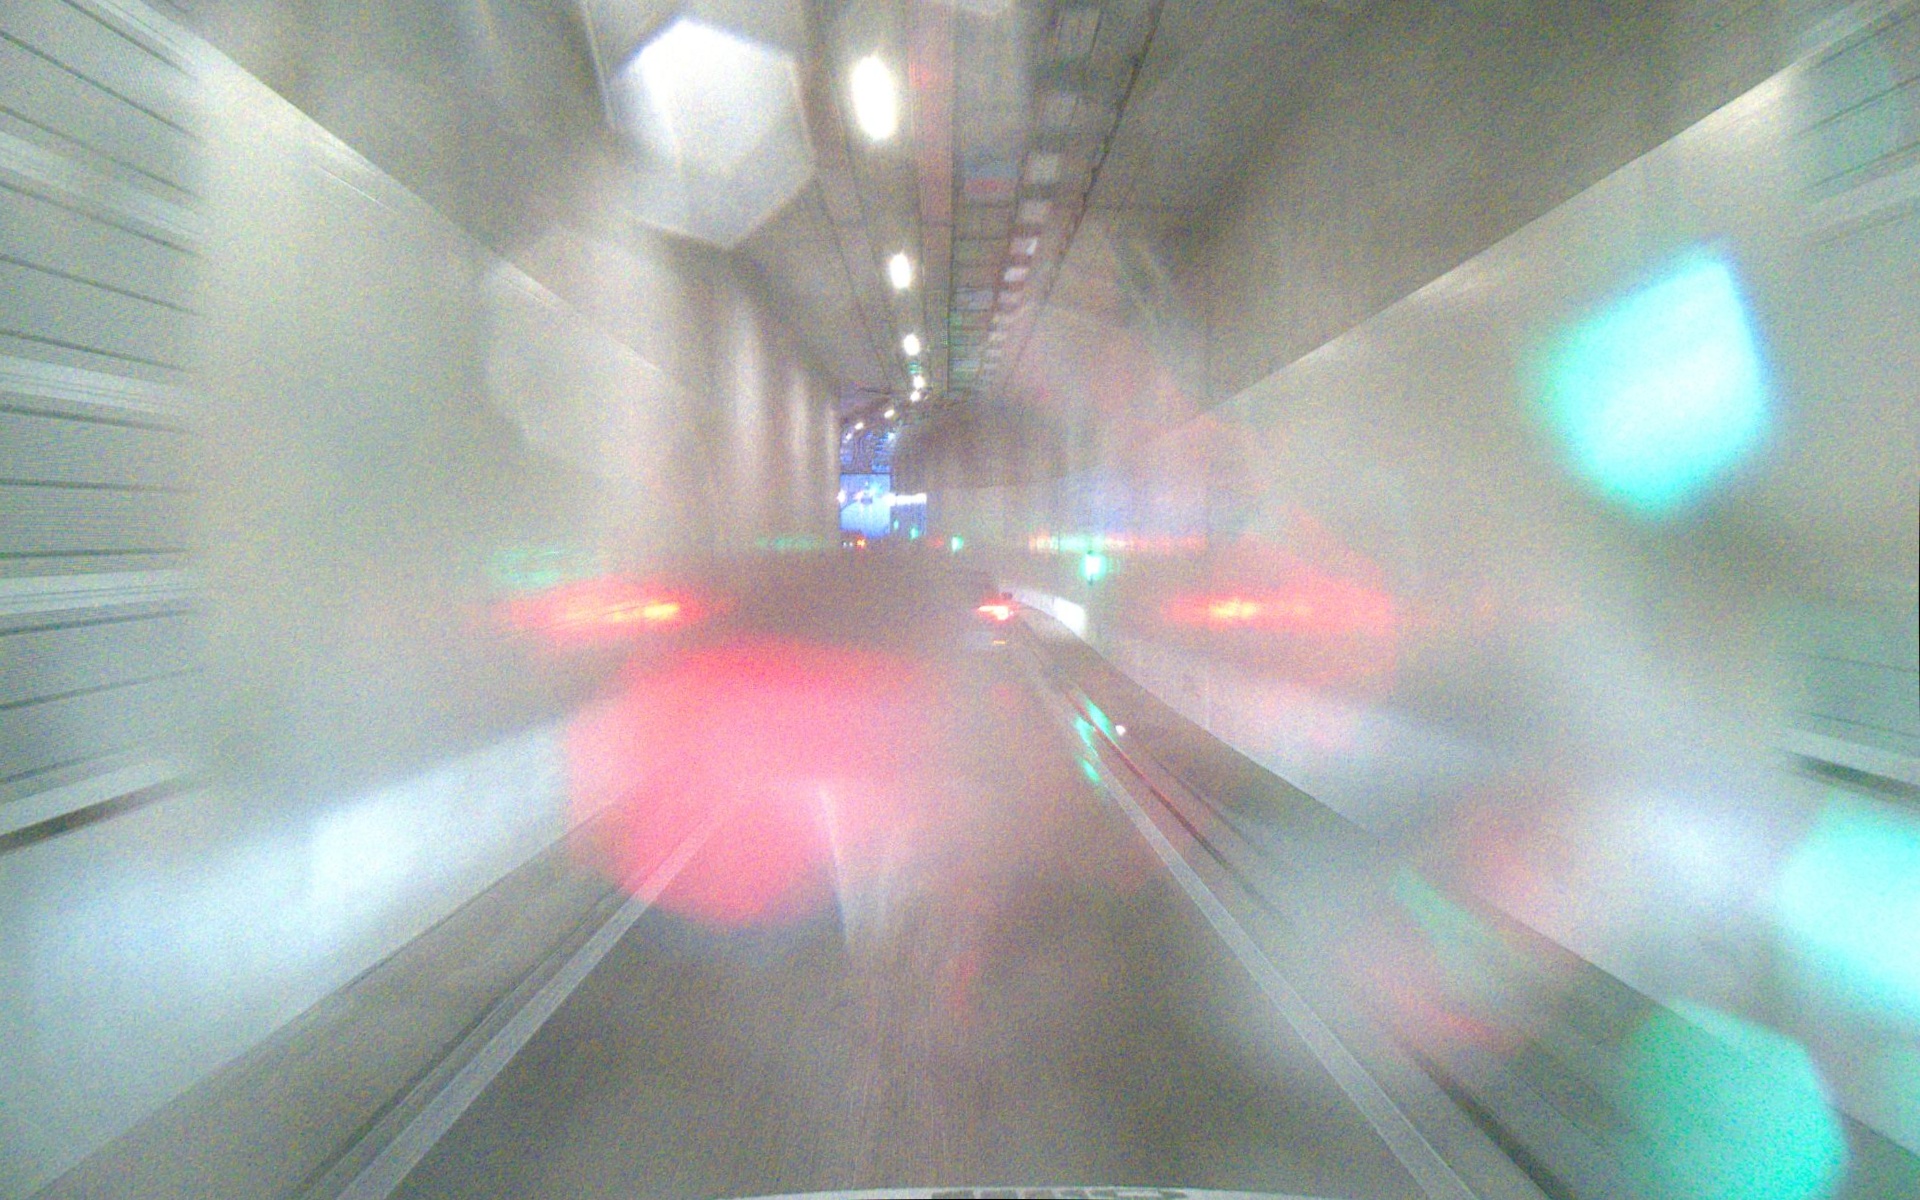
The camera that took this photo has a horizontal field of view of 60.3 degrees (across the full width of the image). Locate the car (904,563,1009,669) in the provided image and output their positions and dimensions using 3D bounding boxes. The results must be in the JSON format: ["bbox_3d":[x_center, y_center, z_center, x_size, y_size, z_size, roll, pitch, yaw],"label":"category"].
[{"bbox_3d":[-0.072,0.193,25.604,1.501,1.421,3.434,1,3,-1],"label":"car"}]

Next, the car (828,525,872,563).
[{"bbox_3d":[-5.118,-2.585,76.566,1.844,1.648,3.995,1,2,-6],"label":"car"}]
